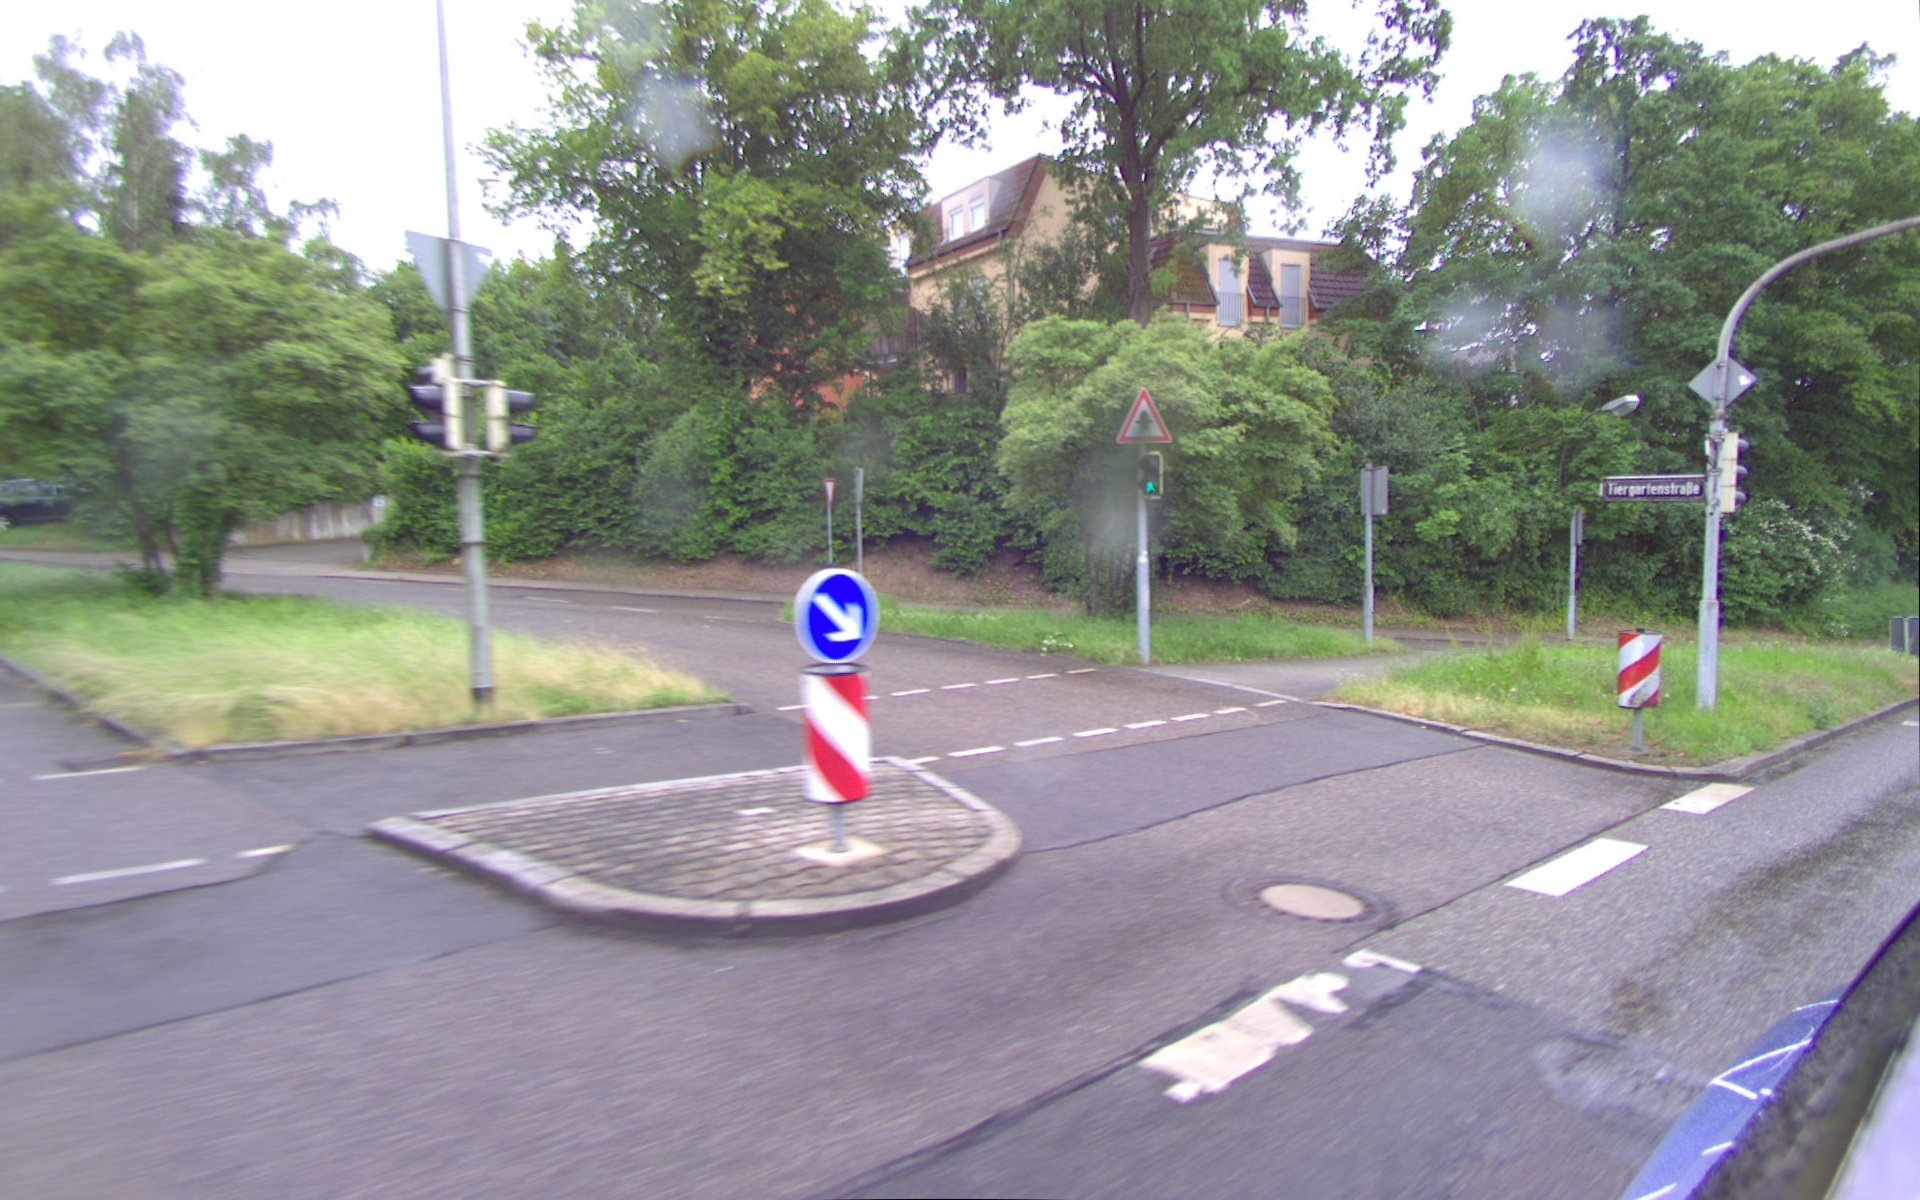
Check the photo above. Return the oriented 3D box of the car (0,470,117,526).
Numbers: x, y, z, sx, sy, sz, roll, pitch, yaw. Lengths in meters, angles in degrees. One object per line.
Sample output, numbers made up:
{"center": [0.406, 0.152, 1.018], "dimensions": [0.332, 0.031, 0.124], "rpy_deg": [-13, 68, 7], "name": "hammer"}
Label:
{"center": [-28.468, -3.123, 31.171], "dimensions": [3.383, 1.587, 1.641], "rpy_deg": [-3, 3, -17], "name": "car"}
